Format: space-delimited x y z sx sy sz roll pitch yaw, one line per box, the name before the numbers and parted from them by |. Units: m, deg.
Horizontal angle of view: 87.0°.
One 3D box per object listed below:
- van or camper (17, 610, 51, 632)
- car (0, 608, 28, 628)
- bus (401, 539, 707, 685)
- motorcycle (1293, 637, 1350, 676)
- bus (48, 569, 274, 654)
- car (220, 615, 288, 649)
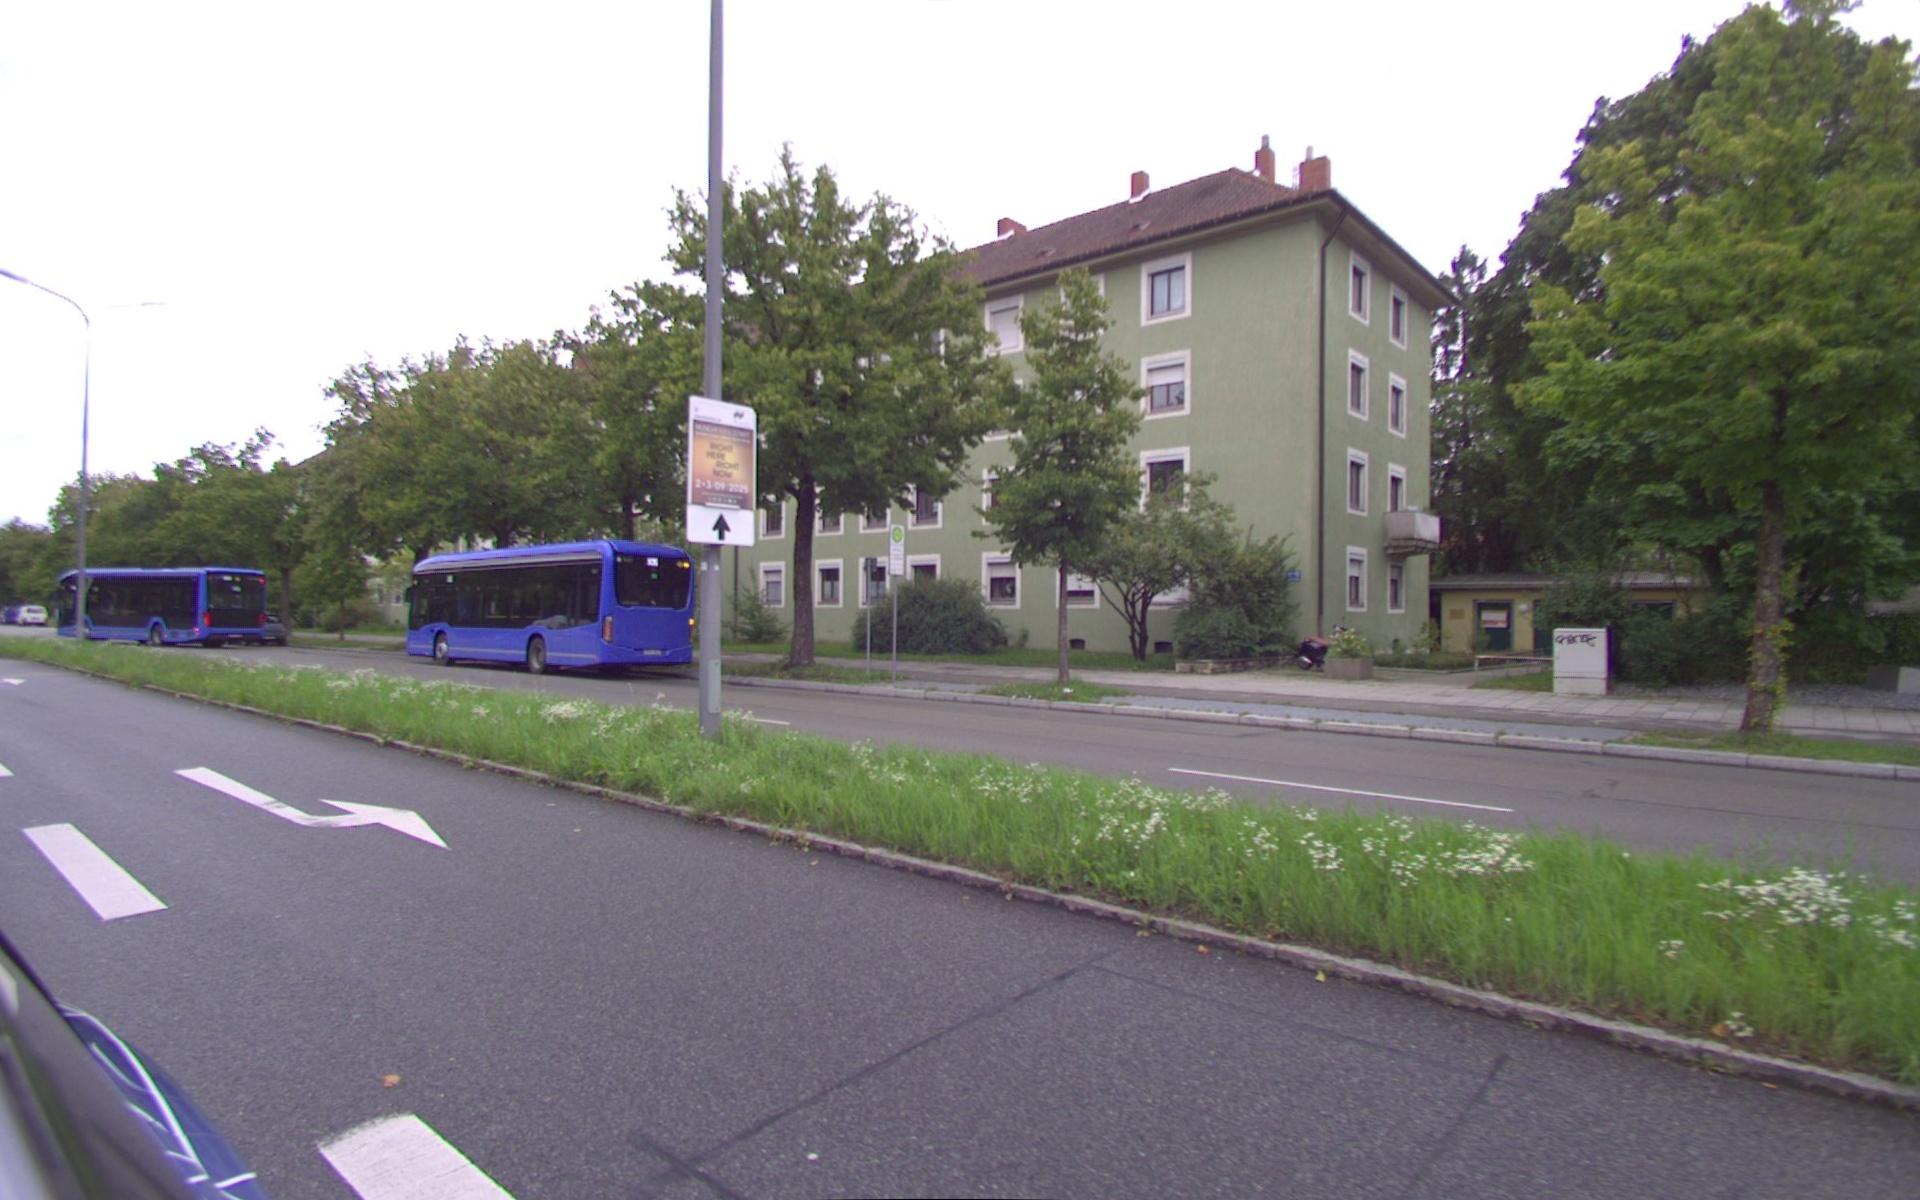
van or camper | -88.139 1.998 96.316 3.998 2.029 1.973 -1 -1 41
car | -98.209 1.811 104.839 3.998 2.029 1.973 -1 -1 41
bus | -11.775 0.365 28.264 12.043 3.369 2.716 -1 -3 41
motorcycle | 8.868 1.375 24.852 1.234 0.889 0.429 -1 -1 41
bus | -35.037 0.498 44.173 12.209 3.369 2.730 0 -2 26
car | -33.305 1.489 47.684 3.909 1.473 1.832 -1 0 42
